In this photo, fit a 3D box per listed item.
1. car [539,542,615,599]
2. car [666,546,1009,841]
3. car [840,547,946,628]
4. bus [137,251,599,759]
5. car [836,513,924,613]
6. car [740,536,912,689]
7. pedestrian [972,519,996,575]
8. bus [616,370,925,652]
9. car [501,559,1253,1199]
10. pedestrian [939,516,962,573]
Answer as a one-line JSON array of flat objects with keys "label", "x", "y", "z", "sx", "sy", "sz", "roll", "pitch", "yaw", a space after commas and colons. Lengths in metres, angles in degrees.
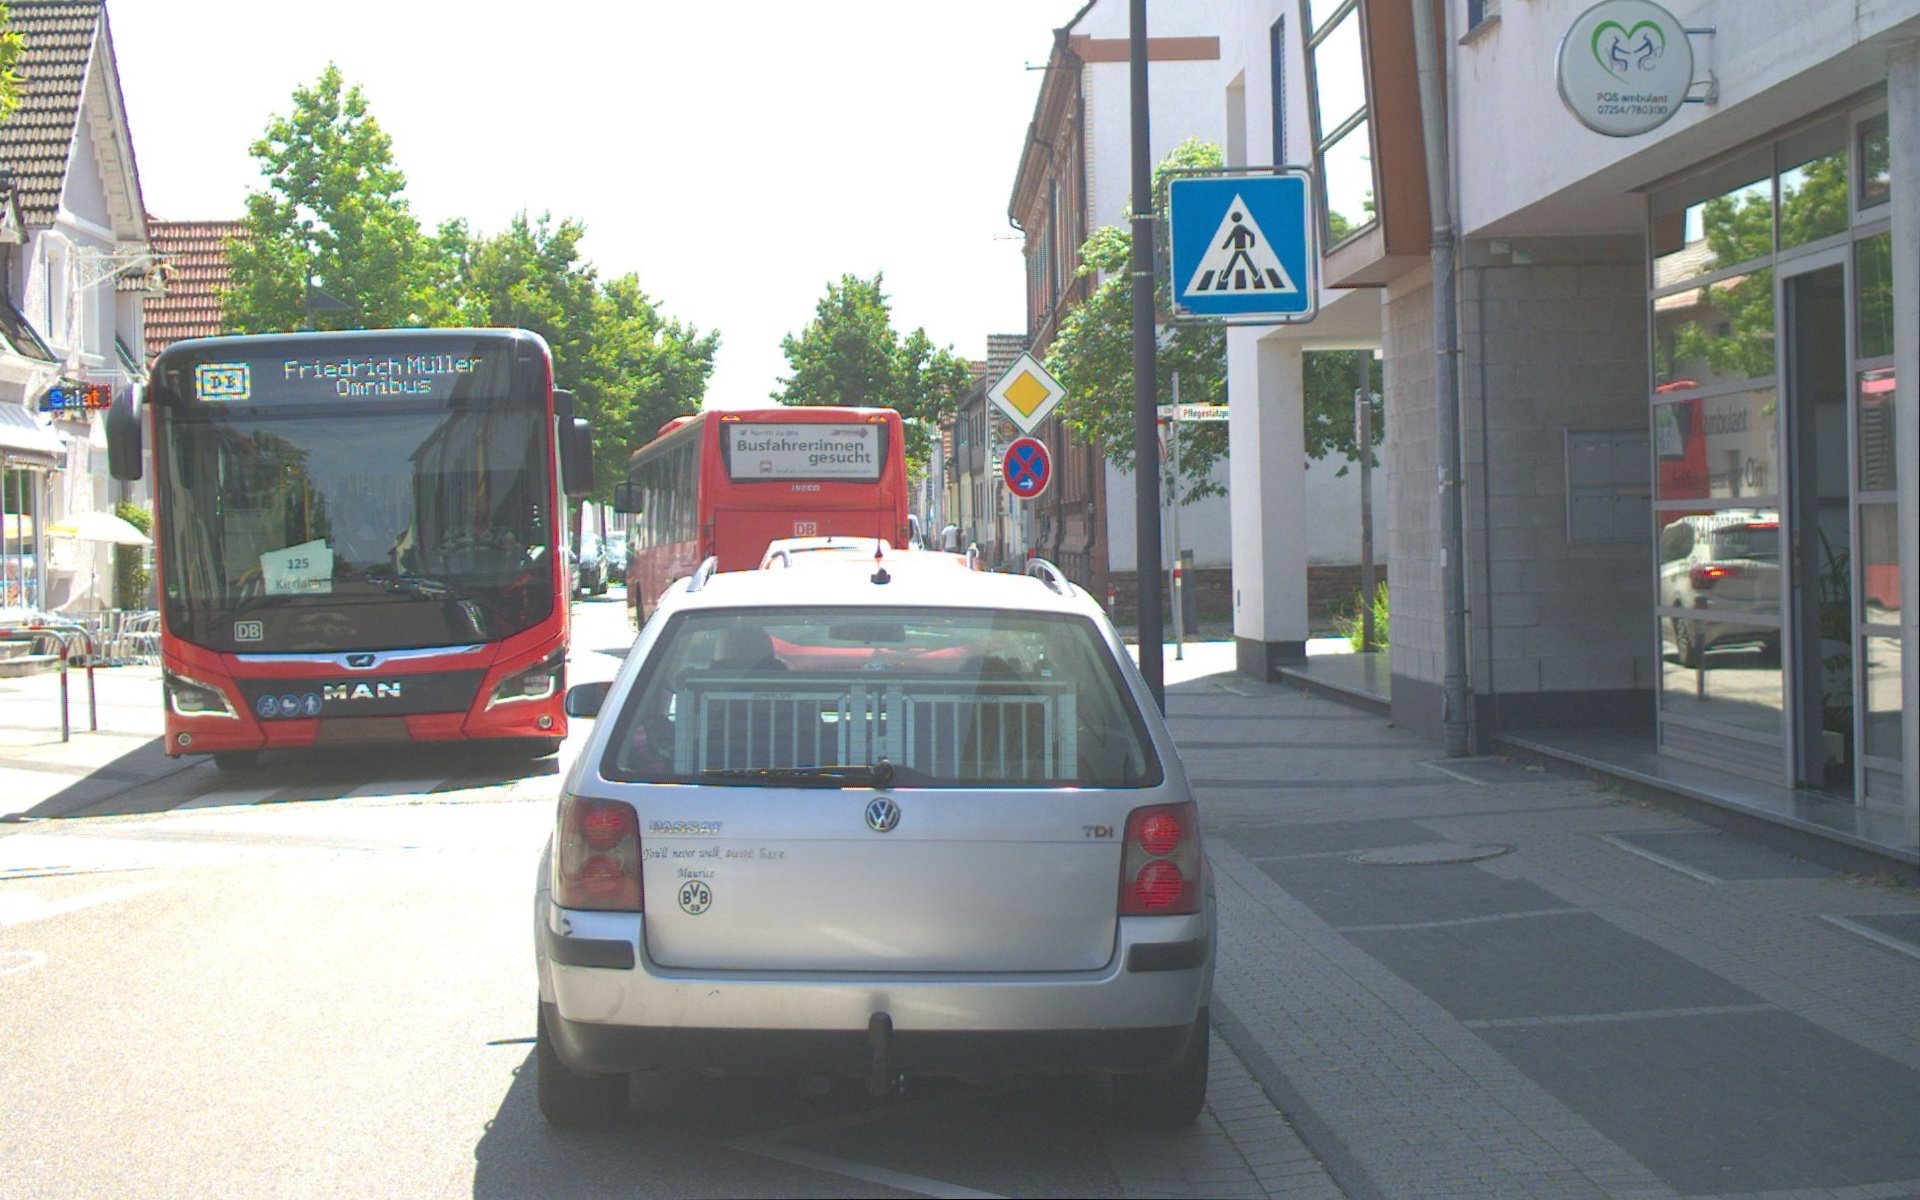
[{"label": "car", "x": -10.791, "y": -0.853, "z": 97.061, "sx": 1.811, "sy": 1.553, "sz": 4.001, "roll": -1, "pitch": 1, "yaw": -2}, {"label": "car", "x": -0.682, "y": 0.438, "z": 18.983, "sx": 1.677, "sy": 1.425, "sz": 3.680, "roll": -1, "pitch": 1, "yaw": -2}, {"label": "car", "x": -1.194, "y": -0.240, "z": 59.608, "sx": 1.719, "sy": 1.304, "sz": 3.626, "roll": -1, "pitch": 1, "yaw": -3}, {"label": "bus", "x": -4.622, "y": -0.744, "z": 30.341, "sx": 2.668, "sy": 3.113, "sz": 17.810, "roll": -2, "pitch": 1, "yaw": -6}, {"label": "car", "x": -1.757, "y": -0.816, "z": 74.899, "sx": 1.787, "sy": 2.075, "sz": 3.626, "roll": -1, "pitch": 1, "yaw": -3}, {"label": "car", "x": -1.290, "y": 0.084, "z": 33.756, "sx": 1.593, "sy": 1.425, "sz": 3.680, "roll": 0, "pitch": 1, "yaw": -1}, {"label": "pedestrian", "x": 0.715, "y": -1.583, "z": 102.526, "sx": 0.606, "sy": 1.661, "sz": 0.789, "roll": -1, "pitch": 1, "yaw": -4}, {"label": "bus", "x": -2.838, "y": -1.127, "z": 46.602, "sx": 2.739, "sy": 3.287, "sz": 12.708, "roll": -1, "pitch": 1, "yaw": -10}, {"label": "car", "x": -0.260, "y": 0.629, "z": 9.652, "sx": 1.677, "sy": 1.425, "sz": 3.680, "roll": 1, "pitch": 1, "yaw": -2}, {"label": "pedestrian", "x": -0.273, "y": -1.647, "z": 102.285, "sx": 0.606, "sy": 1.661, "sz": 0.789, "roll": -1, "pitch": 1, "yaw": -4}]
